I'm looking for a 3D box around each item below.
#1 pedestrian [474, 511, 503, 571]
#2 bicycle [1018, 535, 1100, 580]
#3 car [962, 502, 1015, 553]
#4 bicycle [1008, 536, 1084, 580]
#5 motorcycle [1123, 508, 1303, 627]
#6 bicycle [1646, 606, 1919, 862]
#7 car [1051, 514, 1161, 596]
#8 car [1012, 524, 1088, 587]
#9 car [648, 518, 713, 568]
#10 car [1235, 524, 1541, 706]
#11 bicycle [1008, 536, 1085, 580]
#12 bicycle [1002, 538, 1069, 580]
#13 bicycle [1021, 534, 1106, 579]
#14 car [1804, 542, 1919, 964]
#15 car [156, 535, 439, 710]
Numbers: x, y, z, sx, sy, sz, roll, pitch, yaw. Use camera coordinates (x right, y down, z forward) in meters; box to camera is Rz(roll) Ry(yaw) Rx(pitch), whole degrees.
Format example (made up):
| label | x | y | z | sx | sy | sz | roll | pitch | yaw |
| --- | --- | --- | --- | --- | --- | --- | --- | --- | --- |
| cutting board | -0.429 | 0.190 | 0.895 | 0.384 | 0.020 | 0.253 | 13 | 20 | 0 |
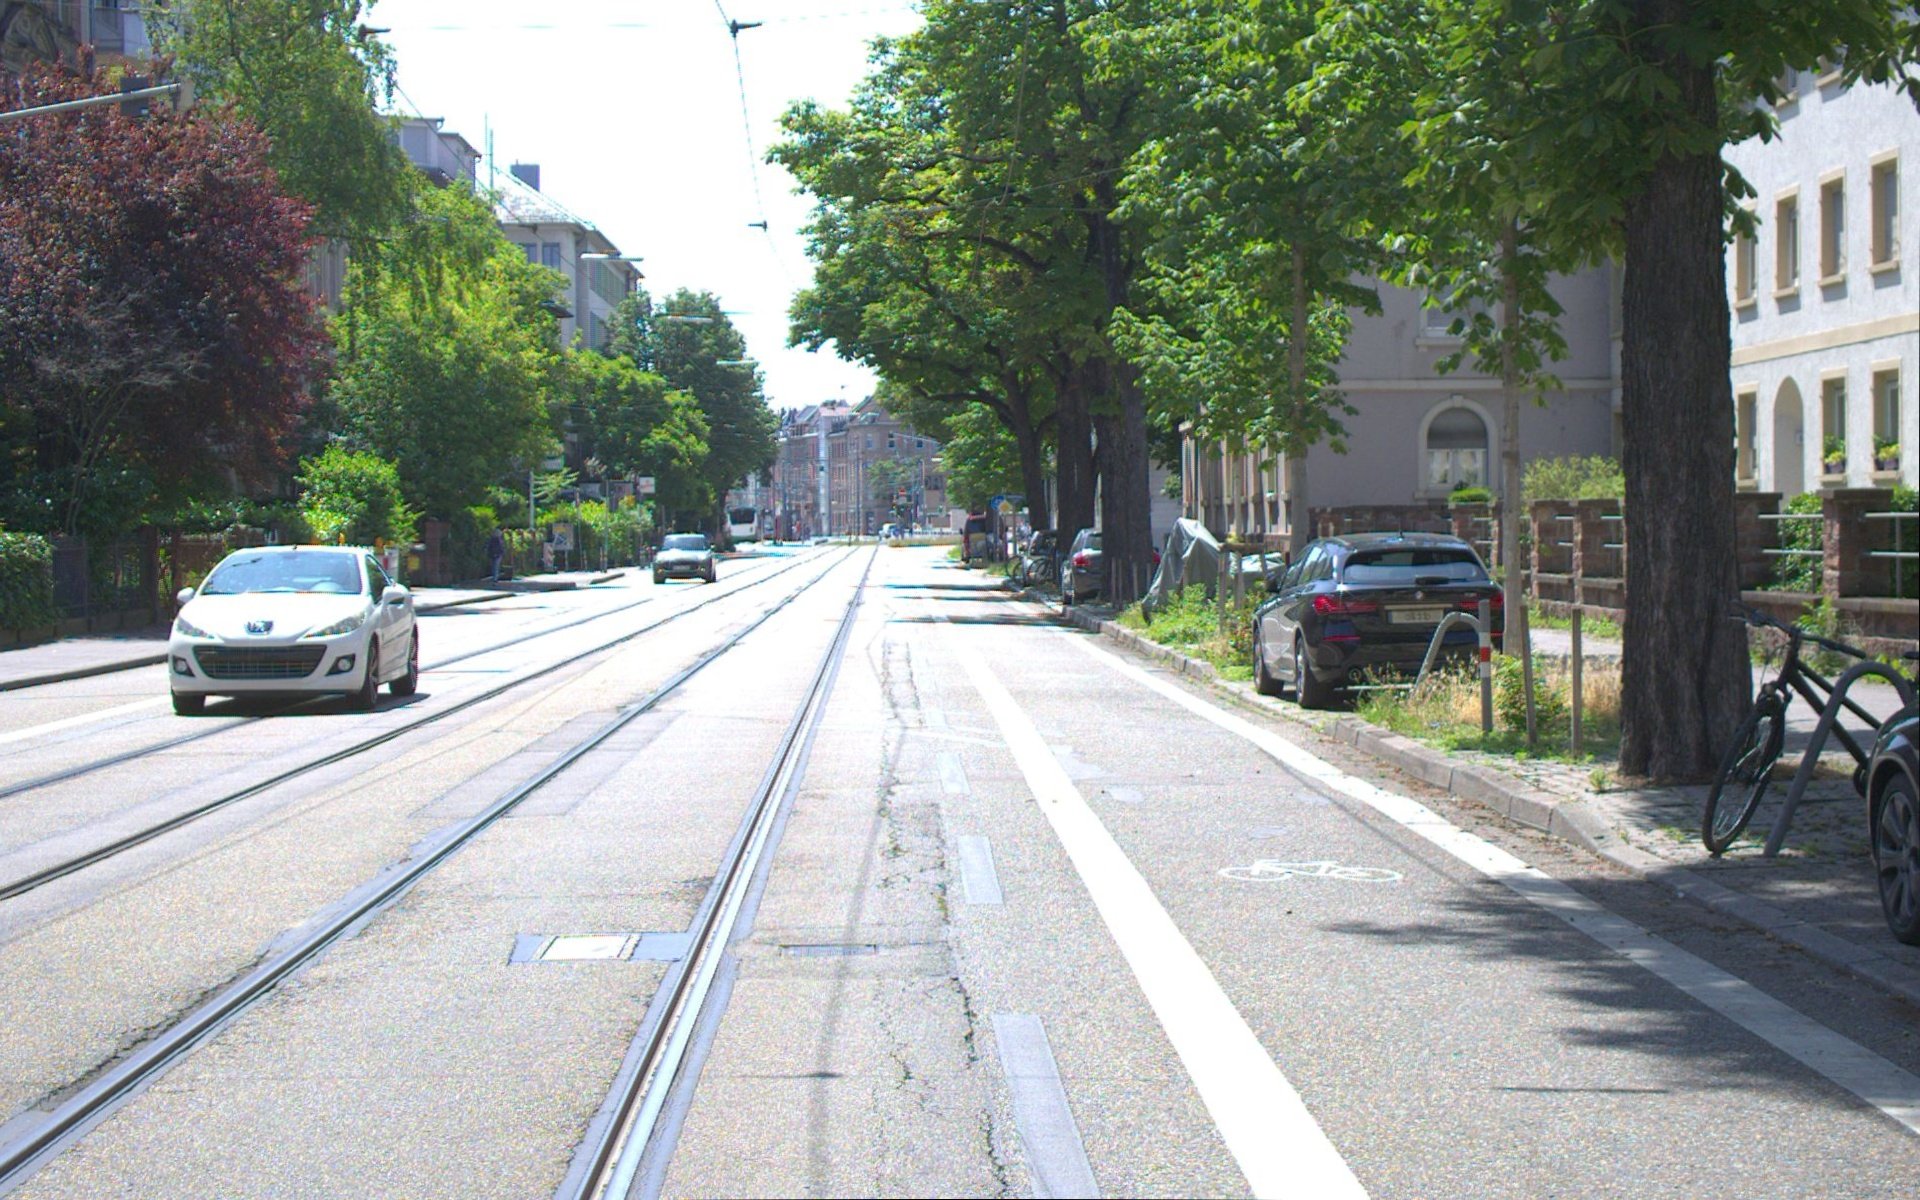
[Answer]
| label | x | y | z | sx | sy | sz | roll | pitch | yaw |
| --- | --- | --- | --- | --- | --- | --- | --- | --- | --- |
| pedestrian | -12.865 | -1.616 | 93.859 | 0.750 | 1.623 | 0.833 | 0 | 1 | -6 |
| bicycle | 2.334 | -1.000 | 81.023 | 1.890 | 1.048 | 0.538 | 0 | 1 | 6 |
| car | 1.150 | -2.973 | 140.122 | 1.993 | 2.028 | 4.697 | 0 | 2 | -1 |
| bicycle | 2.261 | -1.099 | 90.093 | 1.963 | 1.109 | 0.598 | -1 | 0 | 1 |
| motorcycle | 3.336 | -0.454 | 45.520 | 2.318 | 1.535 | 0.867 | 1 | 2 | 42 |
| bicycle | 3.947 | 0.577 | 15.265 | 1.652 | 1.074 | 0.606 | -1 | 1 | -8 |
| car | 2.811 | -0.904 | 66.977 | 1.774 | 1.496 | 4.306 | -2 | 2 | -2 |
| car | 2.229 | -1.105 | 85.768 | 1.621 | 1.443 | 3.810 | -3 | 1 | -2 |
| car | -8.185 | -1.677 | 100.962 | 1.686 | 1.449 | 3.749 | 0 | 1 | -1 |
| car | 3.638 | 0.065 | 30.053 | 1.769 | 1.422 | 4.863 | 0 | 2 | -4 |
| bicycle | 2.290 | -1.111 | 90.756 | 2.010 | 1.109 | 0.640 | -1 | 0 | 1 |
| bicycle | 2.078 | -1.130 | 95.047 | 1.816 | 1.109 | 0.493 | -1 | 0 | -2 |
| bicycle | 2.444 | -1.021 | 81.346 | 1.963 | 1.059 | 0.598 | 0 | 1 | 6 |
| car | 4.152 | 0.547 | 10.773 | 1.694 | 1.414 | 4.358 | 0 | 2 | -4 |
| car | -5.764 | 0.147 | 30.348 | 1.756 | 1.419 | 4.000 | -1 | 1 | -1 |
